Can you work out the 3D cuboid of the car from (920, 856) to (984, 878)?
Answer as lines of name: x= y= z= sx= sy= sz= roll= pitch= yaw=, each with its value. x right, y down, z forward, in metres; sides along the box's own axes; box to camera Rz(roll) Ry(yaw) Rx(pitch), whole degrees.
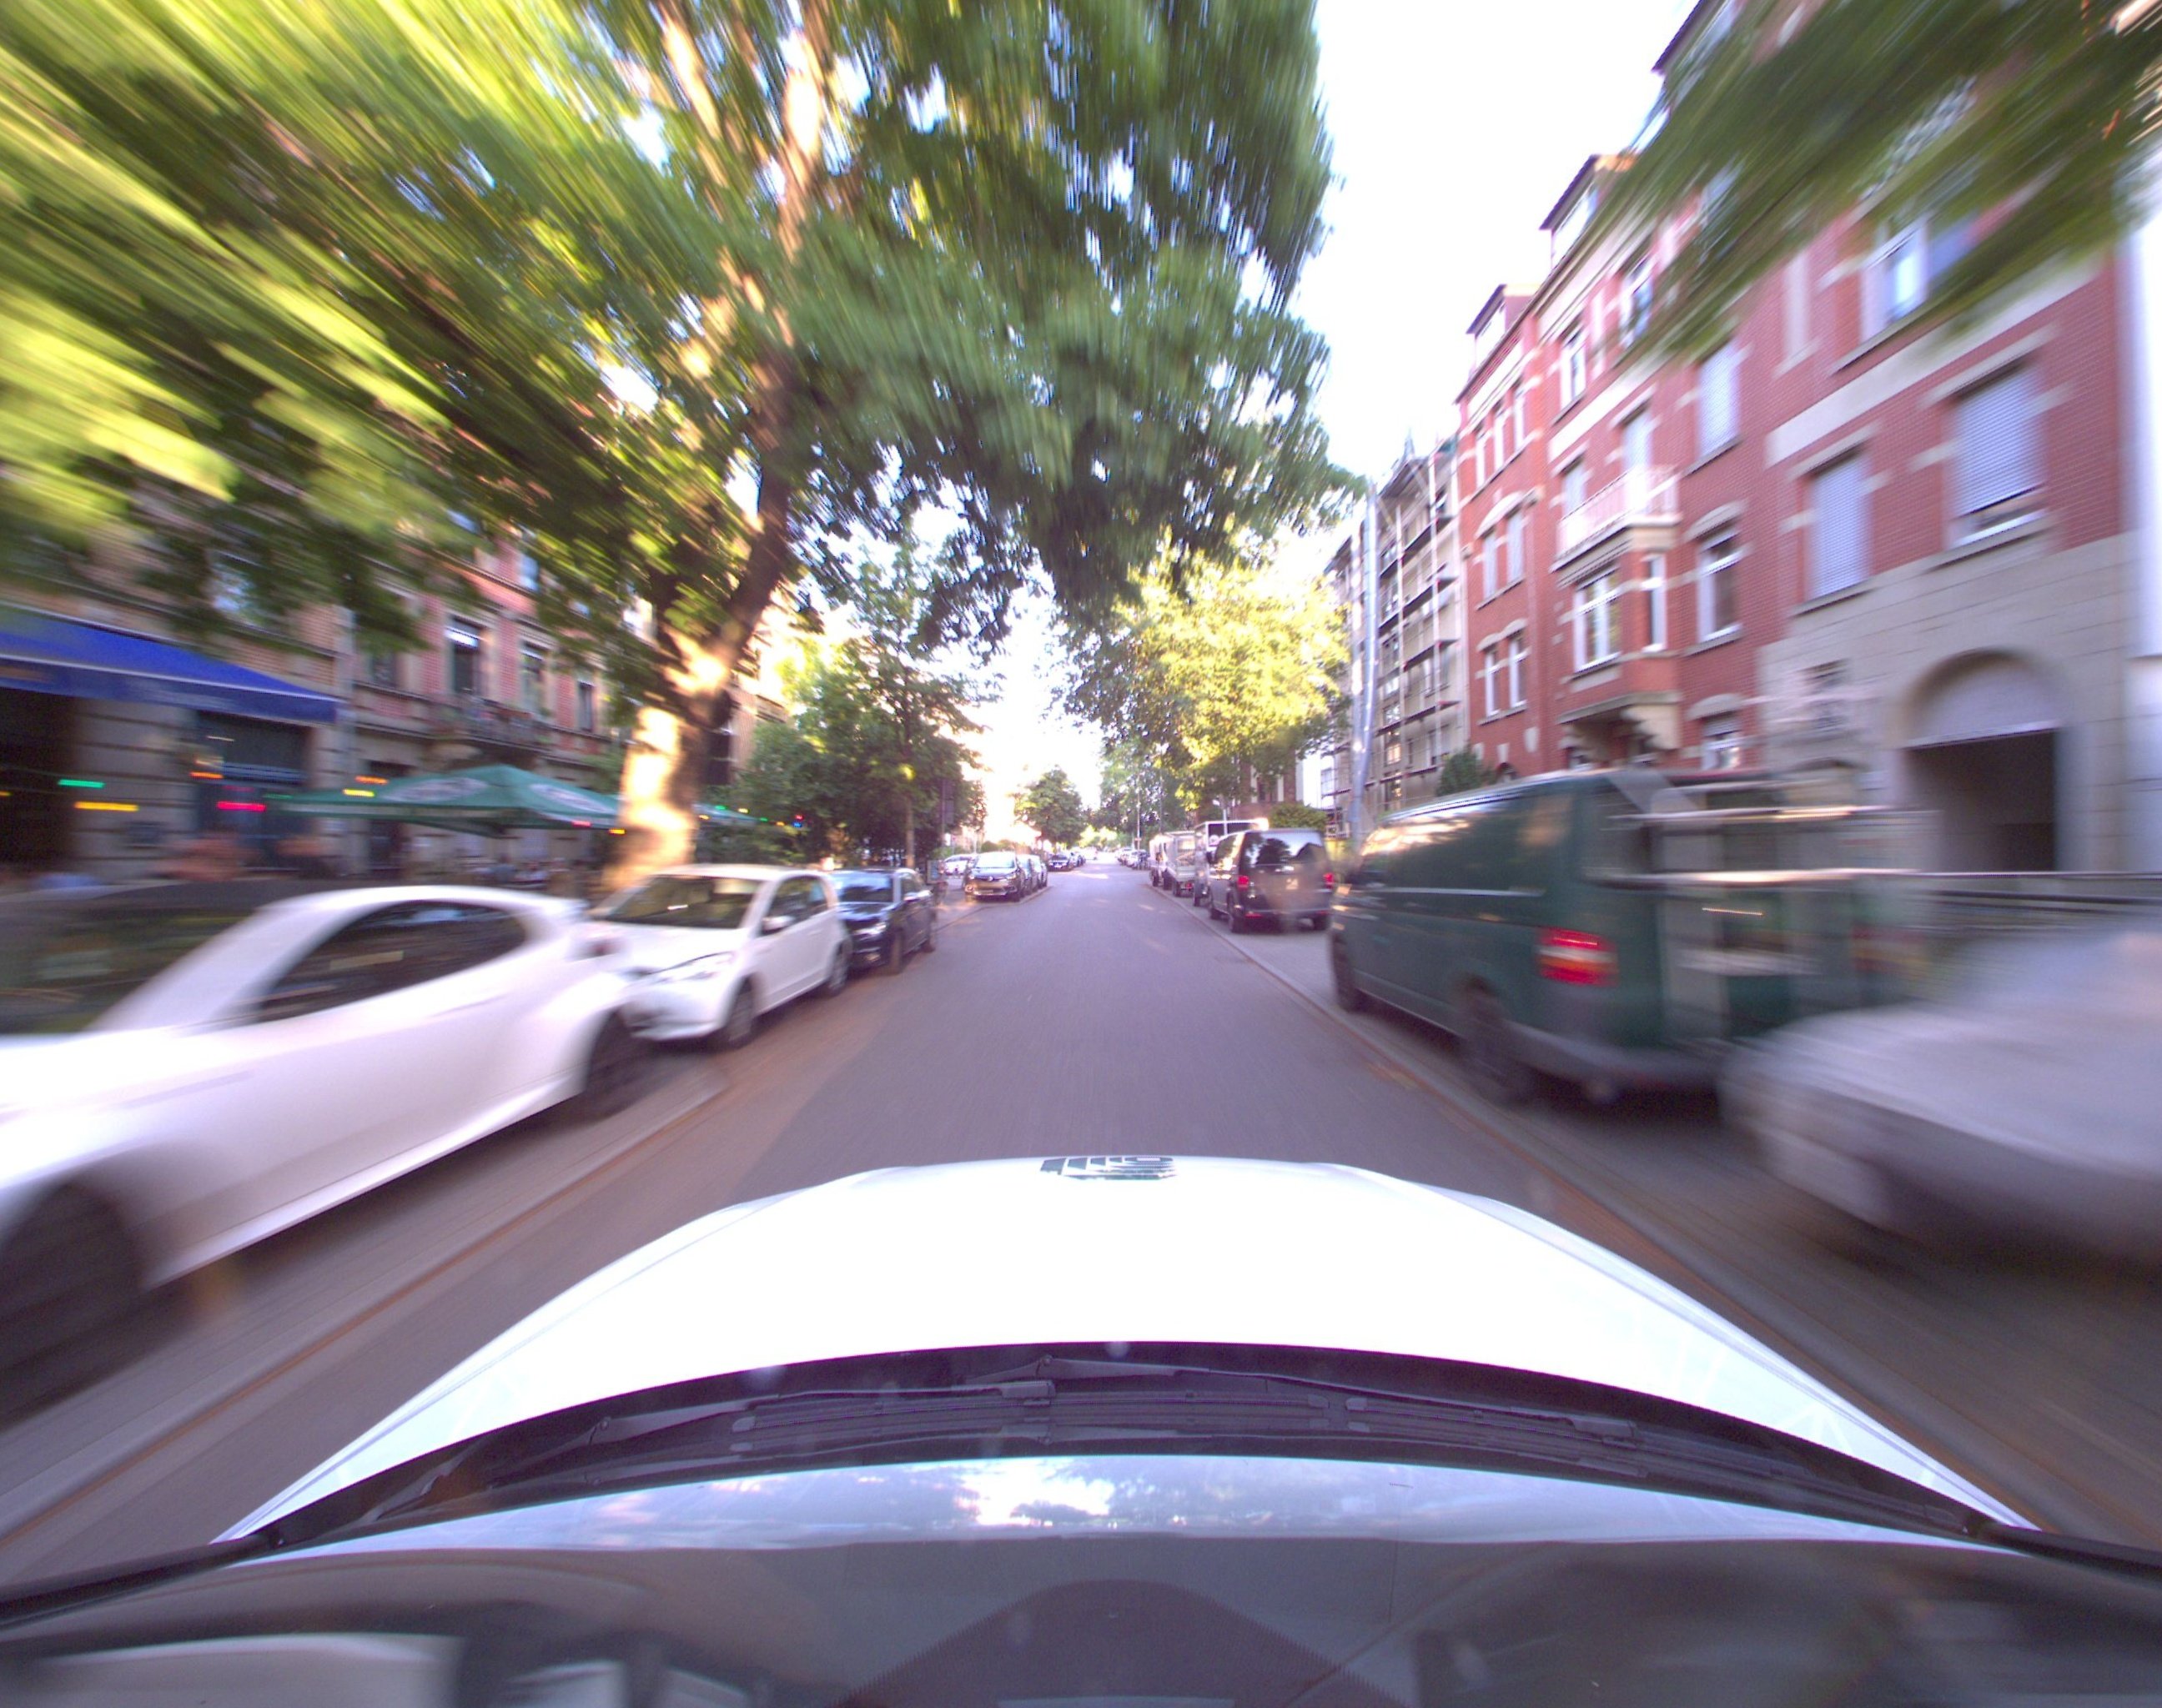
car: x=-9.007 y=0.905 z=57.177 sx=4.067 sy=1.447 sz=1.714 roll=0 pitch=1 yaw=10

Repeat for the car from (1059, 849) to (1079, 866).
car: x=-1.203 y=0.313 z=83.545 sx=1.914 sy=1.717 sz=4.429 roll=0 pitch=0 yaw=2

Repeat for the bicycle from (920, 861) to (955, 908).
bicycle: x=-4.194 y=0.860 z=23.900 sx=0.480 sy=1.255 sz=1.902 roll=3 pitch=1 yaw=4

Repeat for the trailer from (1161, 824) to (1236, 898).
trailer: x=4.042 y=0.218 z=28.711 sx=1.947 sy=2.295 sz=4.646 roll=-3 pitch=0 yaw=1

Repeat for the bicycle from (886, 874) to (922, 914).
bicycle: x=-4.711 y=1.049 z=21.765 sx=0.414 sy=0.929 sz=1.736 roll=2 pitch=1 yaw=4

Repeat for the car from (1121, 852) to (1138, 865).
car: x=5.534 y=0.531 z=93.533 sx=1.681 sy=1.441 sz=4.211 roll=-3 pitch=0 yaw=1

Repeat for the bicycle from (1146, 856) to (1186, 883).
bicycle: x=4.315 y=0.760 z=41.365 sx=1.899 sy=1.258 sz=0.406 roll=-3 pitch=0 yaw=-5

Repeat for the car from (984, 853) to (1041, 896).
car: x=-2.599 y=0.746 z=31.896 sx=1.683 sy=1.502 sz=4.403 roll=2 pitch=0 yaw=1

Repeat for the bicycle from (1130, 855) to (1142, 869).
bicycle: x=4.663 y=0.709 z=69.224 sx=0.439 sy=1.173 sz=1.646 roll=-1 pitch=0 yaw=26

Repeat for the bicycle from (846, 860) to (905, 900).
bicycle: x=-6.964 y=0.858 z=27.754 sx=0.600 sy=1.284 sz=2.499 roll=-1 pitch=0 yaw=22

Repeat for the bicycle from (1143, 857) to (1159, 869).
bicycle: x=5.819 y=0.761 z=67.665 sx=1.228 sy=0.957 sz=0.328 roll=-2 pitch=1 yaw=-21

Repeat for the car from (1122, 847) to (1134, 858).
car: x=6.772 y=-0.166 z=117.969 sx=1.534 sy=1.521 sz=3.430 roll=0 pitch=0 yaw=-1

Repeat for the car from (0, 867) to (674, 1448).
car: x=-3.640 y=0.844 z=3.598 sx=1.597 sy=1.435 sz=3.887 roll=2 pitch=1 yaw=2

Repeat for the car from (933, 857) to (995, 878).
car: x=-8.509 y=0.965 z=59.321 sx=4.066 sy=1.447 sz=1.823 roll=0 pitch=1 yaw=11

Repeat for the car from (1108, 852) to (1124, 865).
car: x=4.339 y=0.548 z=101.220 sx=1.682 sy=1.606 sz=3.938 roll=0 pitch=0 yaw=-1

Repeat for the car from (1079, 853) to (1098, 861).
car: x=1.433 y=0.552 z=161.772 sx=3.609 sy=1.461 sz=1.605 roll=0 pitch=0 yaw=-3

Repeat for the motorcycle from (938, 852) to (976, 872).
motorcycle: x=-9.915 y=0.638 z=65.141 sx=2.835 sy=1.638 sz=0.677 roll=-1 pitch=0 yaw=9

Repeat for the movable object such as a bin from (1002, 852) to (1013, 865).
movable object such as a bin: x=-8.120 y=0.521 z=90.194 sx=1.097 sy=1.414 sz=1.001 roll=1 pitch=1 yaw=-13

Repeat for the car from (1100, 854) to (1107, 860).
car: x=6.417 y=0.734 z=229.877 sx=1.806 sy=1.596 sz=3.484 roll=0 pitch=0 yaw=1

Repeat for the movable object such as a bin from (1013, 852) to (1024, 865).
movable object such as a bin: x=-6.881 y=0.493 z=90.339 sx=1.007 sy=1.321 sz=1.007 roll=1 pitch=1 yaw=6

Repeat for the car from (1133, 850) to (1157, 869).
car: x=5.643 y=0.494 z=72.109 sx=1.683 sy=1.592 sz=3.655 roll=-1 pitch=0 yaw=-2

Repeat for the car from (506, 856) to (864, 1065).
car: x=-3.492 y=0.811 z=7.999 sx=1.545 sy=1.485 sz=3.696 roll=2 pitch=1 yaw=2

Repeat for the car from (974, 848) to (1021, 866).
car: x=-7.642 y=0.269 z=74.696 sx=4.079 sy=1.527 sz=1.709 roll=2 pitch=0 yaw=0

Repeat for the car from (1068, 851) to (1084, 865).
car: x=-0.543 y=0.494 z=95.353 sx=1.709 sy=1.566 sz=3.789 roll=0 pitch=0 yaw=2

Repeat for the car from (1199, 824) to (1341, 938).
car: x=3.738 y=0.450 z=16.977 sx=1.833 sy=1.942 sz=4.614 roll=-3 pitch=1 yaw=0

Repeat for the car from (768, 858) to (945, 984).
car: x=-3.115 y=0.852 z=12.045 sx=1.546 sy=1.485 sz=3.693 roll=-1 pitch=1 yaw=0

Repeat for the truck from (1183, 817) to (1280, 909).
truck: x=4.157 y=0.195 z=23.253 sx=1.947 sy=2.246 sz=4.647 roll=-3 pitch=1 yaw=2

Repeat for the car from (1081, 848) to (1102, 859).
car: x=2.087 y=-0.127 z=164.548 sx=4.336 sy=2.318 sz=1.745 roll=0 pitch=0 yaw=0

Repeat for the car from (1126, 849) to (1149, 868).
car: x=5.401 y=0.461 z=78.264 sx=1.793 sy=1.711 sz=4.599 roll=-1 pitch=0 yaw=-1

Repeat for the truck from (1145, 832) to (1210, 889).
truck: x=4.107 y=0.280 z=35.799 sx=1.971 sy=2.244 sz=6.774 roll=-1 pitch=0 yaw=0

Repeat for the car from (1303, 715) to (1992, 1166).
car: x=3.385 y=0.383 z=6.329 sx=1.947 sy=2.058 sz=4.831 roll=-3 pitch=1 yaw=0

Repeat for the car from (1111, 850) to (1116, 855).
car: x=10.407 y=-0.419 z=260.846 sx=1.709 sy=1.596 sz=3.484 roll=0 pitch=0 yaw=1

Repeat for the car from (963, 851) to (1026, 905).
car: x=-2.780 y=0.715 z=26.932 sx=1.685 sy=1.563 sz=4.400 roll=2 pitch=1 yaw=-2

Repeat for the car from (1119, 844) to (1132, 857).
car: x=6.633 y=-0.552 z=122.107 sx=1.675 sy=1.941 sz=3.879 roll=0 pitch=0 yaw=-1

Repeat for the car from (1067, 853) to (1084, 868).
car: x=-0.566 y=0.743 z=87.410 sx=1.709 sy=1.566 sz=3.782 roll=0 pitch=-1 yaw=2

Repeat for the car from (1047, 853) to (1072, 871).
car: x=-1.754 y=0.628 z=67.057 sx=1.609 sy=1.470 sz=3.966 roll=0 pitch=0 yaw=4

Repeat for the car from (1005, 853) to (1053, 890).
car: x=-2.342 y=0.756 z=37.687 sx=1.683 sy=1.502 sz=4.740 roll=2 pitch=1 yaw=2

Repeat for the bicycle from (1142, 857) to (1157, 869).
bicycle: x=5.769 y=0.777 z=68.367 sx=1.228 sy=0.947 sz=0.328 roll=-2 pitch=1 yaw=-21

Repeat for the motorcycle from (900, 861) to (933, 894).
motorcycle: x=-6.482 y=0.891 z=32.237 sx=0.580 sy=1.156 sz=2.893 roll=2 pitch=1 yaw=2
